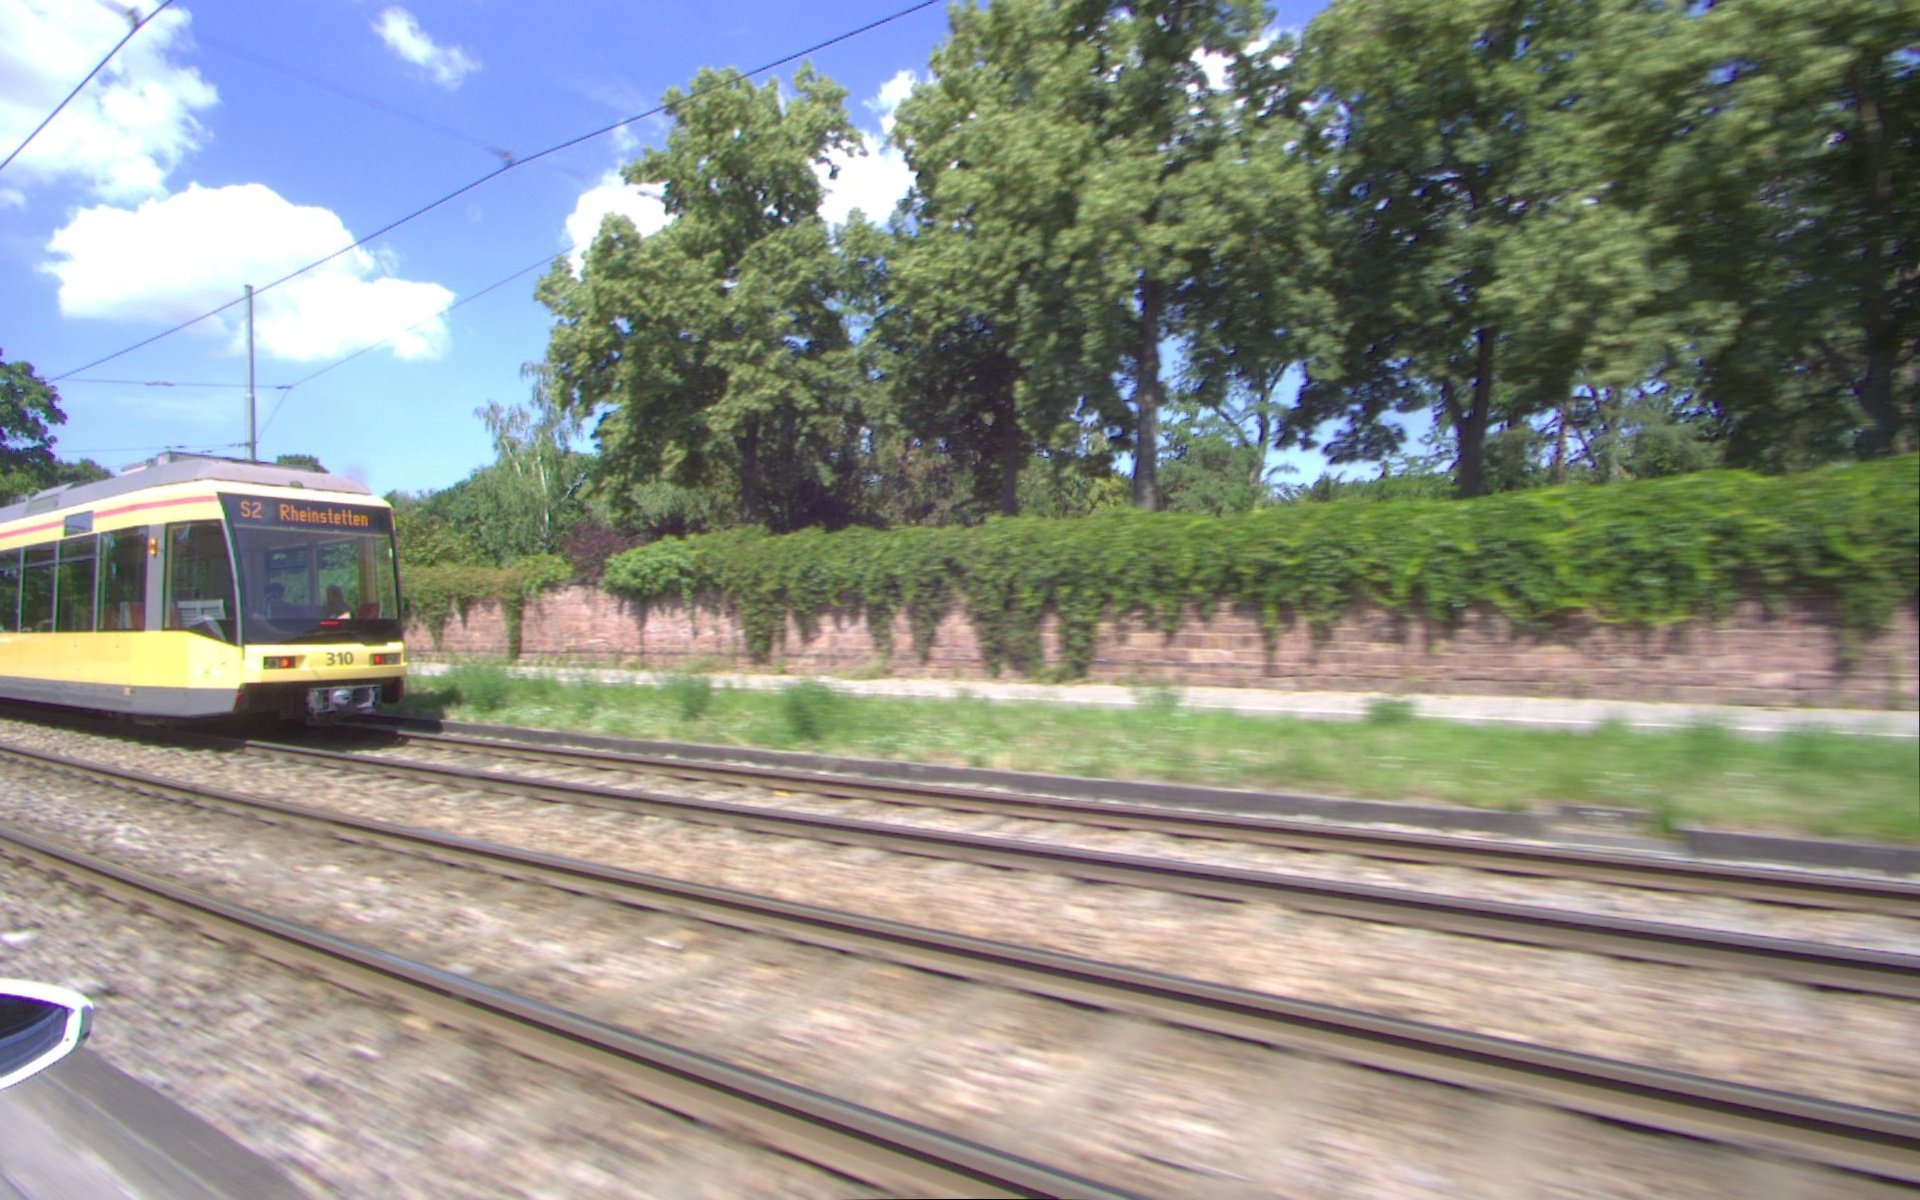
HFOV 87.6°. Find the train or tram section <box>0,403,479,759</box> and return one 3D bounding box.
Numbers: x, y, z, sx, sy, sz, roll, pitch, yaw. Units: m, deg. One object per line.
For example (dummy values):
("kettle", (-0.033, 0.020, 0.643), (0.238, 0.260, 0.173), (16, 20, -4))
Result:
("train or tram section", (-14.481, -0.032, 16.959), (18.141, 3.739, 2.936), (-1, -1, 35))

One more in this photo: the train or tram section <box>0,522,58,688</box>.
("train or tram section", (-29.997, 0.247, 28.068), (20.016, 3.739, 2.935), (-1, -1, 36))
